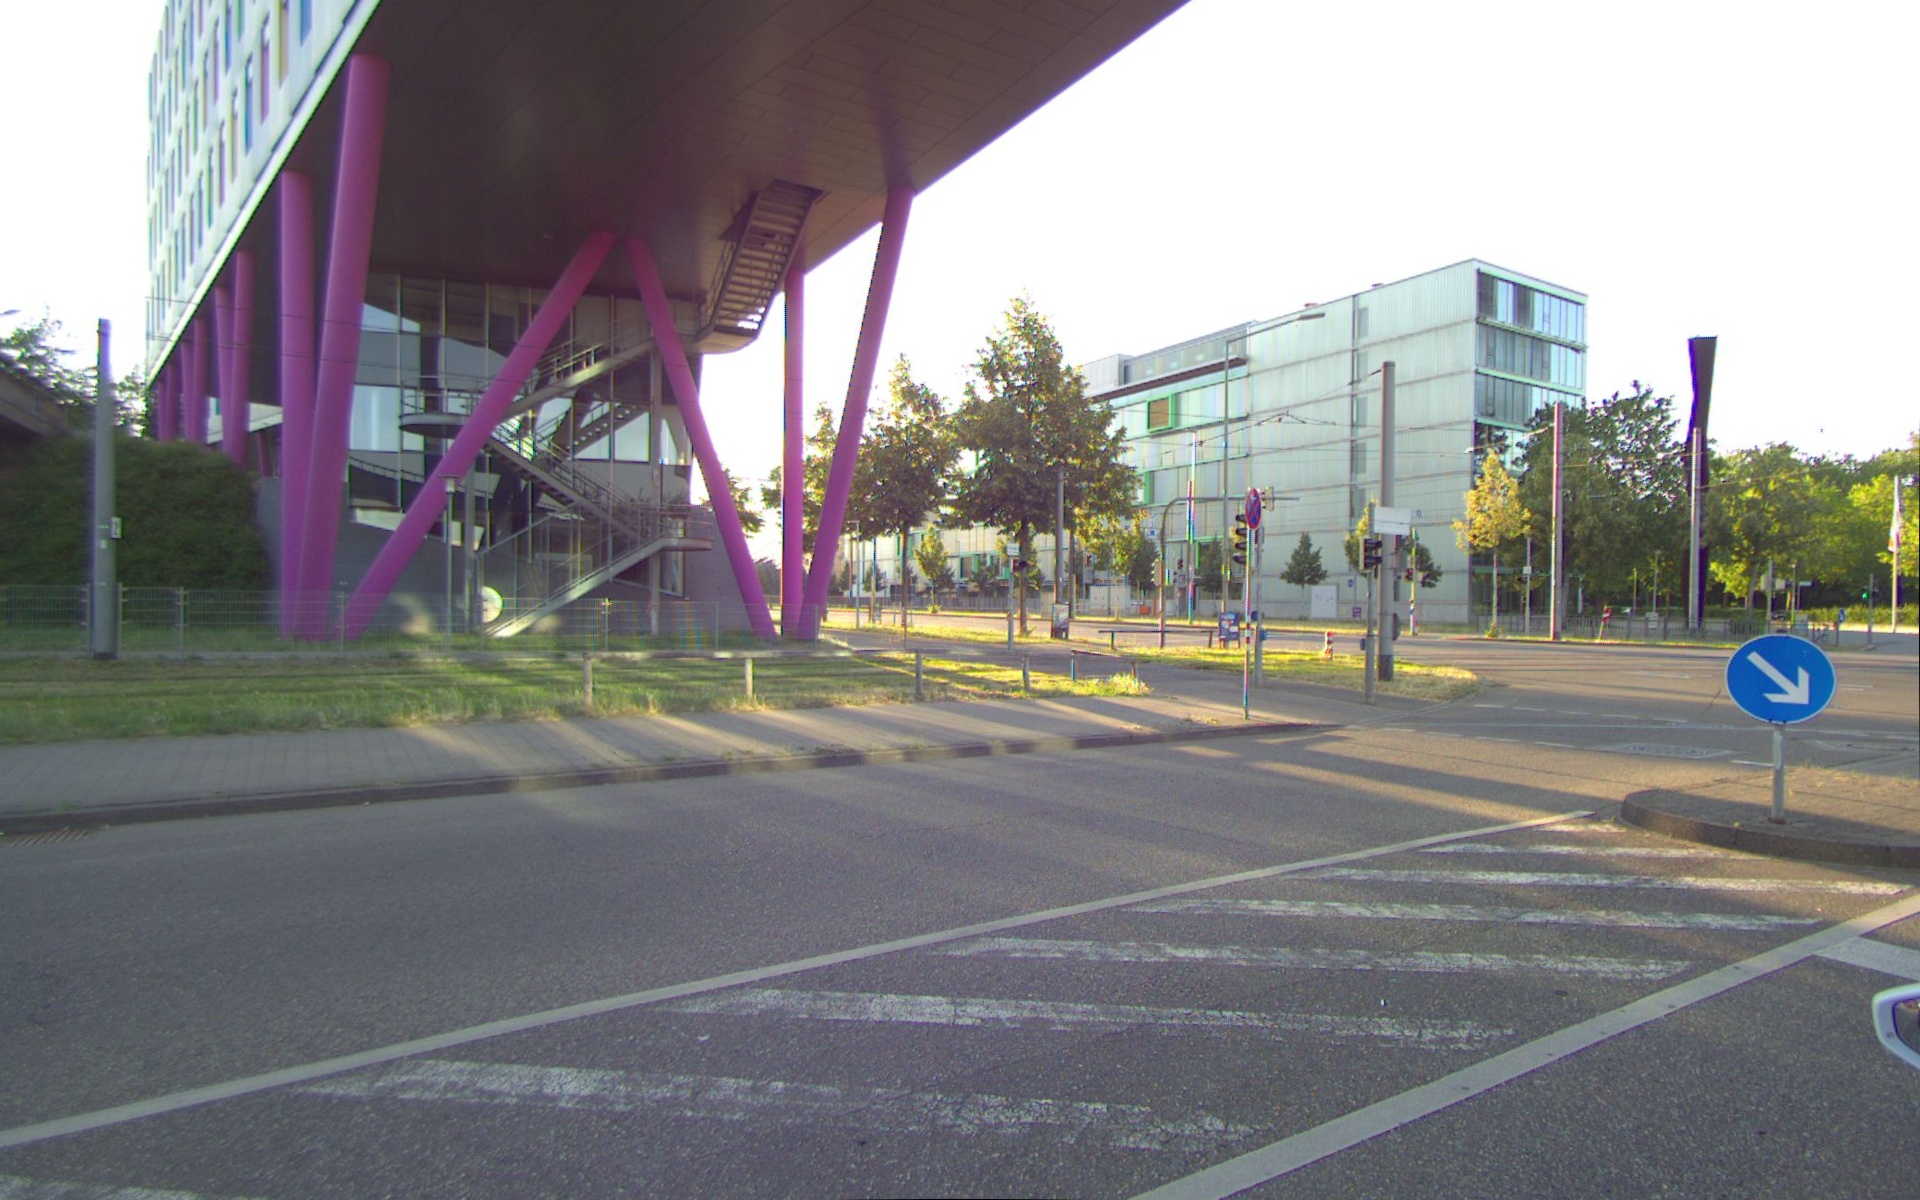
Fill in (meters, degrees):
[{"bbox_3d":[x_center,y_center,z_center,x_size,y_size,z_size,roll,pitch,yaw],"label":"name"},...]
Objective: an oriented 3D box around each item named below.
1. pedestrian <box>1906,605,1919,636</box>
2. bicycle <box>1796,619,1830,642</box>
[{"bbox_3d":[55.432,1.194,58.109,0.882,1.778,0.718,1,0,35],"label":"pedestrian"},{"bbox_3d":[43.958,1.570,51.749,2.367,1.151,0.695,1,0,-33],"label":"bicycle"}]
